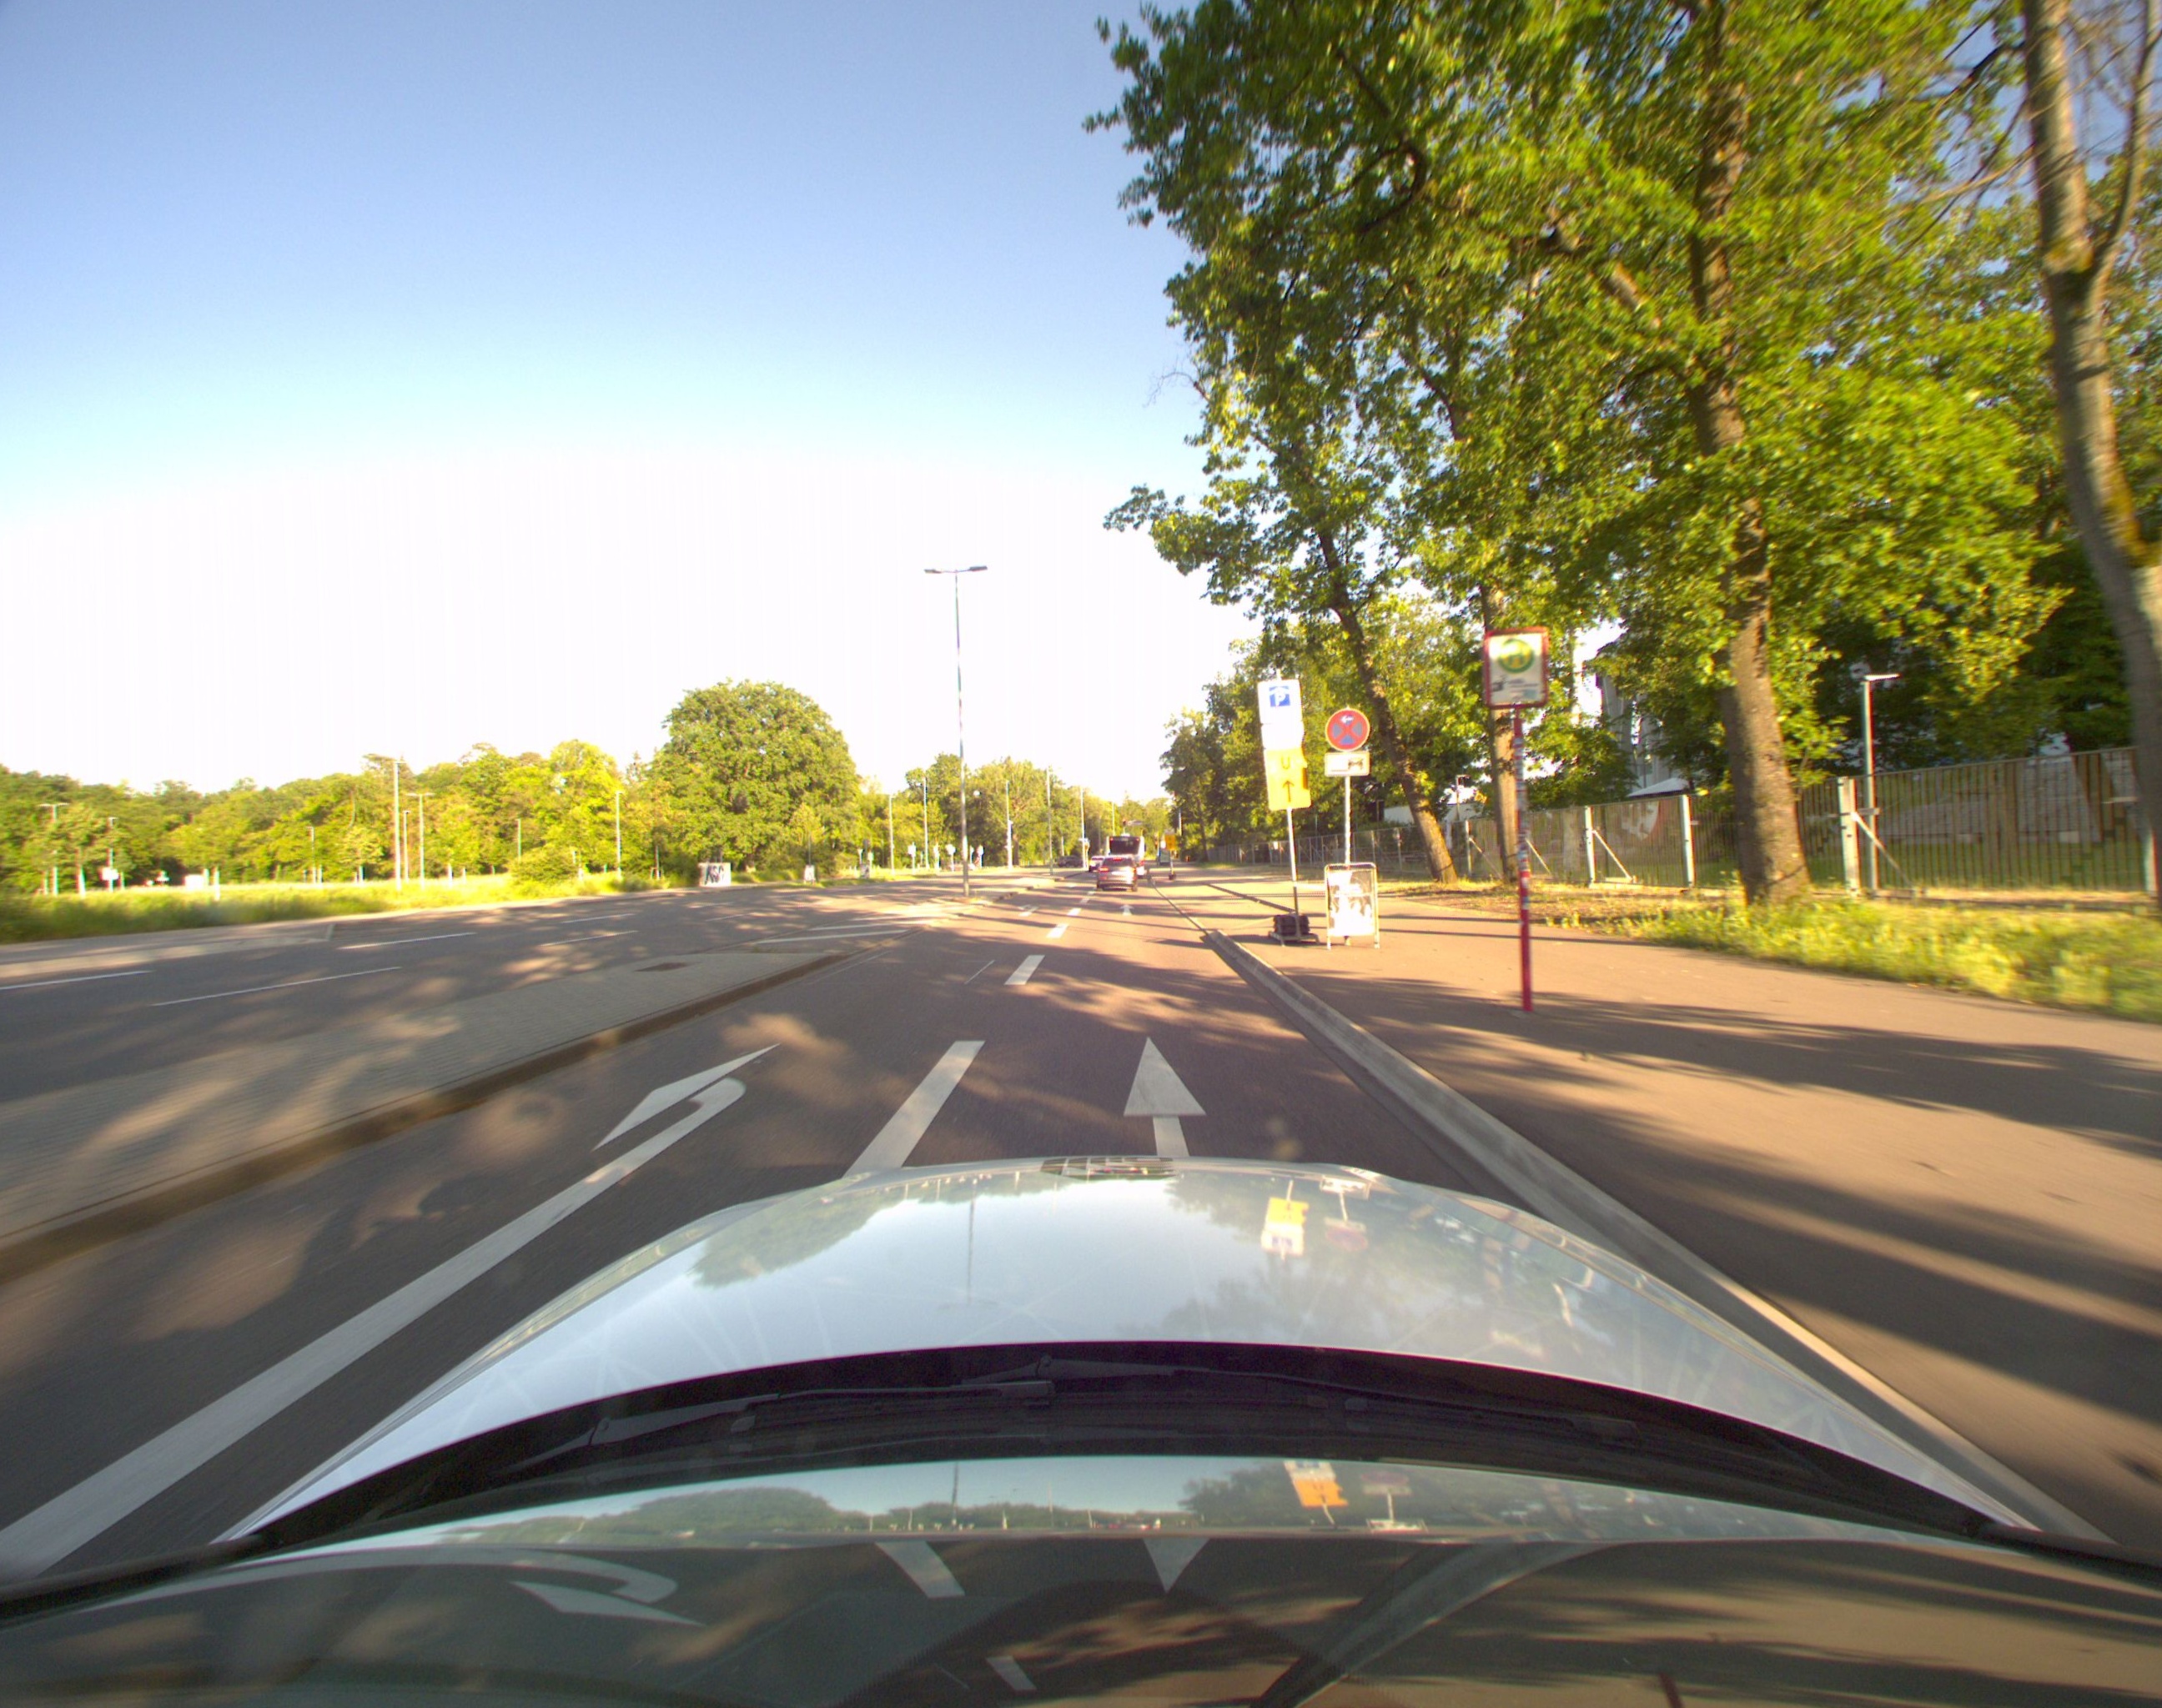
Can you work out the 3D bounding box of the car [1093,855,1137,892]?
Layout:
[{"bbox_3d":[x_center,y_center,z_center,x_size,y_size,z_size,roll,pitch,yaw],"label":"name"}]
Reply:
[{"bbox_3d":[1.626,0.861,38.047,1.890,1.632,4.005,0,0,4],"label":"car"}]

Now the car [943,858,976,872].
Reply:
[{"bbox_3d":[-16.122,1.455,108.165,3.974,1.640,2.065,-3,-1,0],"label":"car"}]

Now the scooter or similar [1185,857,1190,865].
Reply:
[{"bbox_3d":[18.157,1.219,139.332,0.506,1.444,2.022,-2,0,-1],"label":"scooter or similar"}]

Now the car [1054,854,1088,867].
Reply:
[{"bbox_3d":[-1.414,0.860,112.816,4.250,1.585,2.082,-3,0,-35],"label":"car"}]

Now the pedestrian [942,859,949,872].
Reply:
[{"bbox_3d":[-17.234,1.491,103.241,0.652,1.560,0.533,-2,-1,-38],"label":"pedestrian"}]

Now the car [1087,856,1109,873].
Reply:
[{"bbox_3d":[1.626,0.970,77.936,1.828,1.518,4.005,-1,0,4],"label":"car"}]

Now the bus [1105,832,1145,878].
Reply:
[{"bbox_3d":[3.244,0.124,58.093,2.583,2.989,9.337,0,-1,5],"label":"bus"}]
